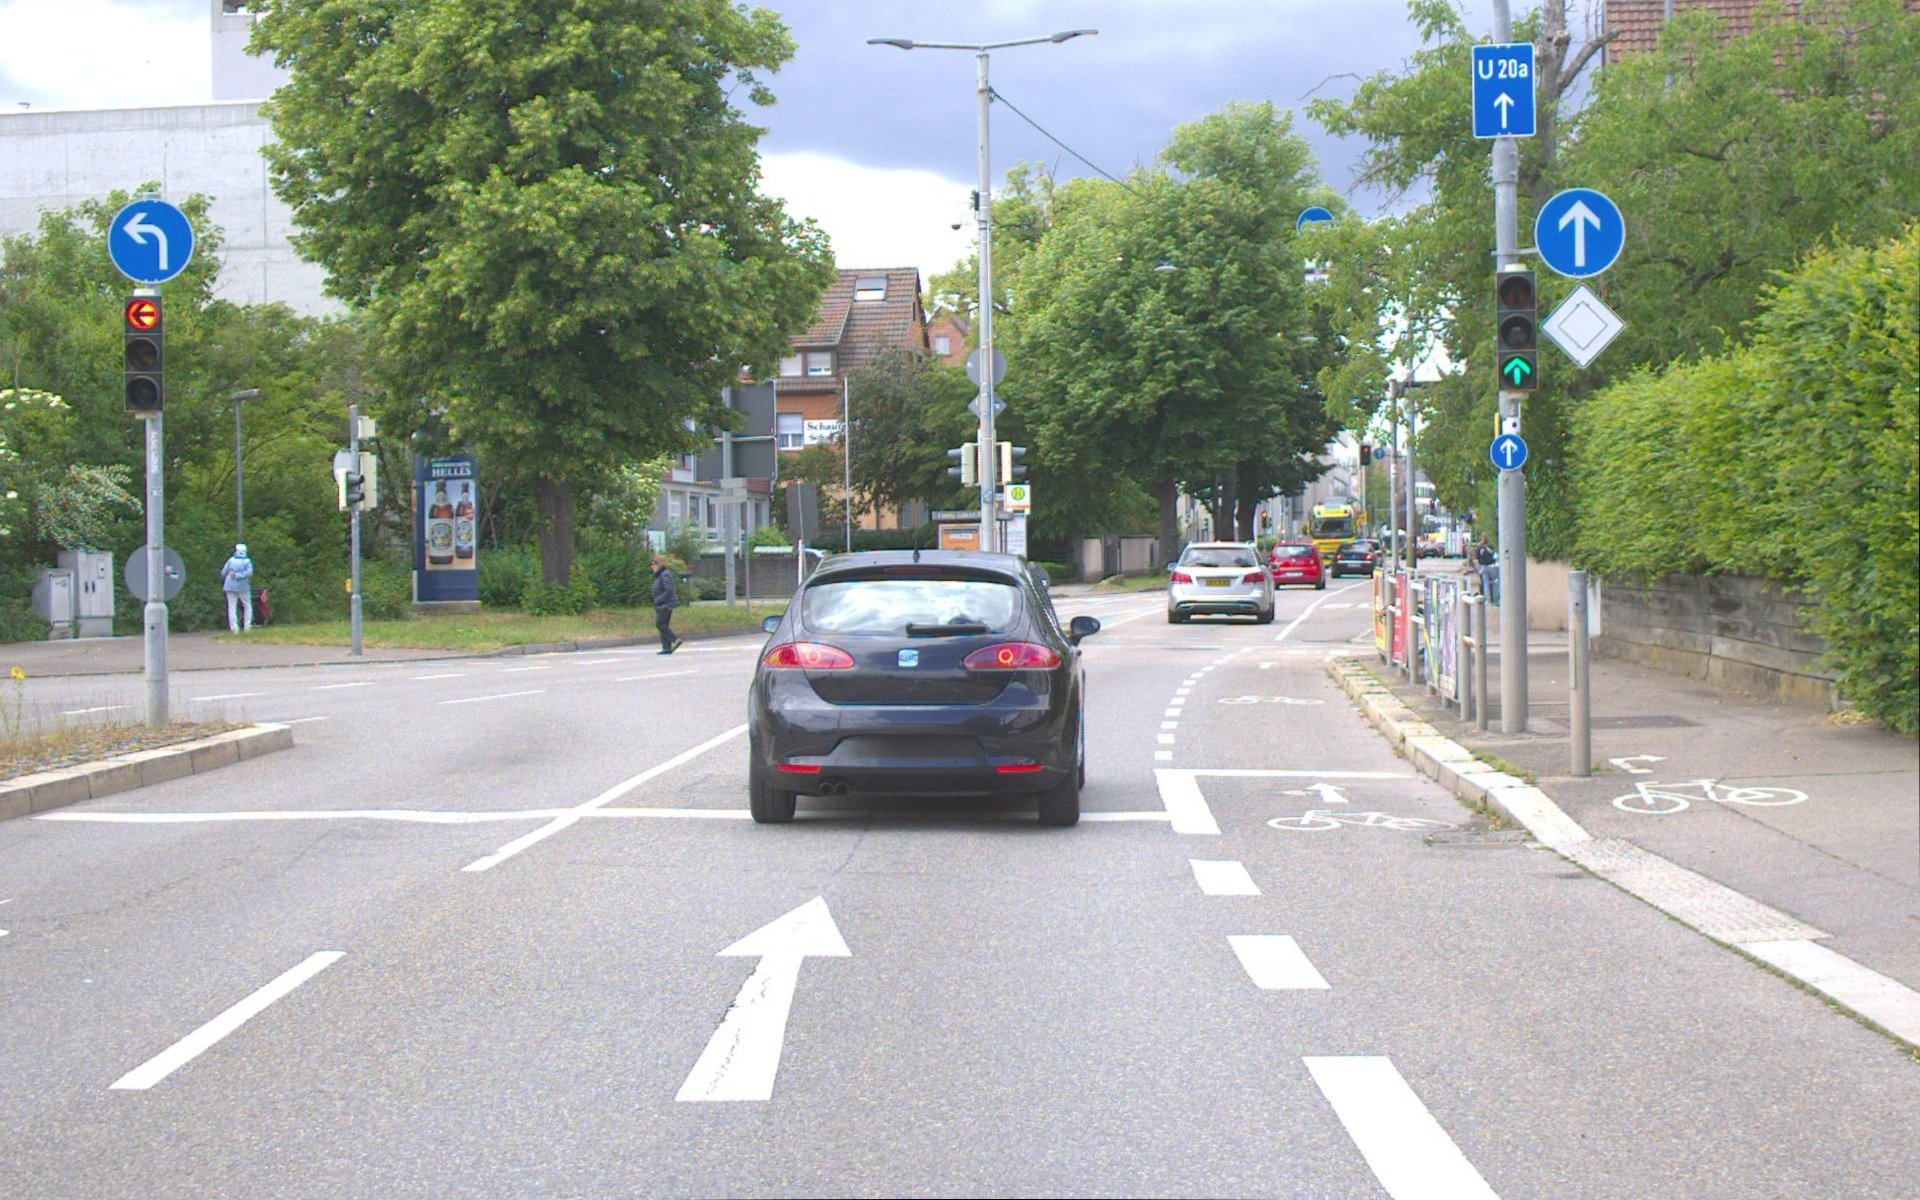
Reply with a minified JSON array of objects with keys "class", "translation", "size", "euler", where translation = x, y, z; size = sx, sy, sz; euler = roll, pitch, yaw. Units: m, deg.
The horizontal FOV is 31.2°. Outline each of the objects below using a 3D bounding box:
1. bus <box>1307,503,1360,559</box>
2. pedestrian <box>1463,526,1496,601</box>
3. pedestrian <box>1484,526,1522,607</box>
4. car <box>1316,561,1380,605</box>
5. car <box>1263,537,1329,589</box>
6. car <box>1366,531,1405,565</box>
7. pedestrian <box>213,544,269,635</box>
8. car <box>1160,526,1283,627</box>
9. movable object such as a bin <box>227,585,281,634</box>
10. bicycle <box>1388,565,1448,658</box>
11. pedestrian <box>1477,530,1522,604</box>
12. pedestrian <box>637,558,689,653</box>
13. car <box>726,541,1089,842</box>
[{"class":"bus","translation":[21.680,-4.022,199.420],"size":[2.869,3.125,6.396],"euler":[-1,1,8]},{"class":"pedestrian","translation":[10.730,-0.756,71.024],"size":[0.550,1.512,0.361],"euler":[-3,1,18]},{"class":"pedestrian","translation":[10.735,-0.660,67.944],"size":[0.543,1.550,0.471],"euler":[-5,1,0]},{"class":"car","translation":[15.529,-0.705,137.460],"size":[1.995,1.678,3.998],"euler":[-1,1,14]},{"class":"car","translation":[10.379,-1.156,105.990],"size":[1.942,1.476,4.252],"euler":[-1,1,6]},{"class":"car","translation":[20.787,-2.550,167.829],"size":[1.849,1.590,4.105],"euler":[-1,1,7]},{"class":"pedestrian","translation":[-12.129,-0.180,58.010],"size":[0.655,1.517,0.923],"euler":[-1,1,6]},{"class":"car","translation":[4.795,-0.455,62.611],"size":[1.819,1.693,4.251],"euler":[-1,1,10]},{"class":"movable object such as a bin","translation":[-12.056,0.158,58.747],"size":[0.655,0.795,0.897],"euler":[-1,1,6]},{"class":"bicycle","translation":[5.216,0.121,39.187],"size":[0.628,1.025,1.504],"euler":[0,1,6]},{"class":"pedestrian","translation":[10.893,-0.667,69.387],"size":[0.511,1.422,0.621],"euler":[-6,1,-43]},{"class":"pedestrian","translation":[-4.487,0.078,51.959],"size":[0.773,1.402,0.601],"euler":[1,2,-5]},{"class":"car","translation":[-0.195,0.425,19.020],"size":[1.759,1.444,3.714],"euler":[1,1,3]}]
